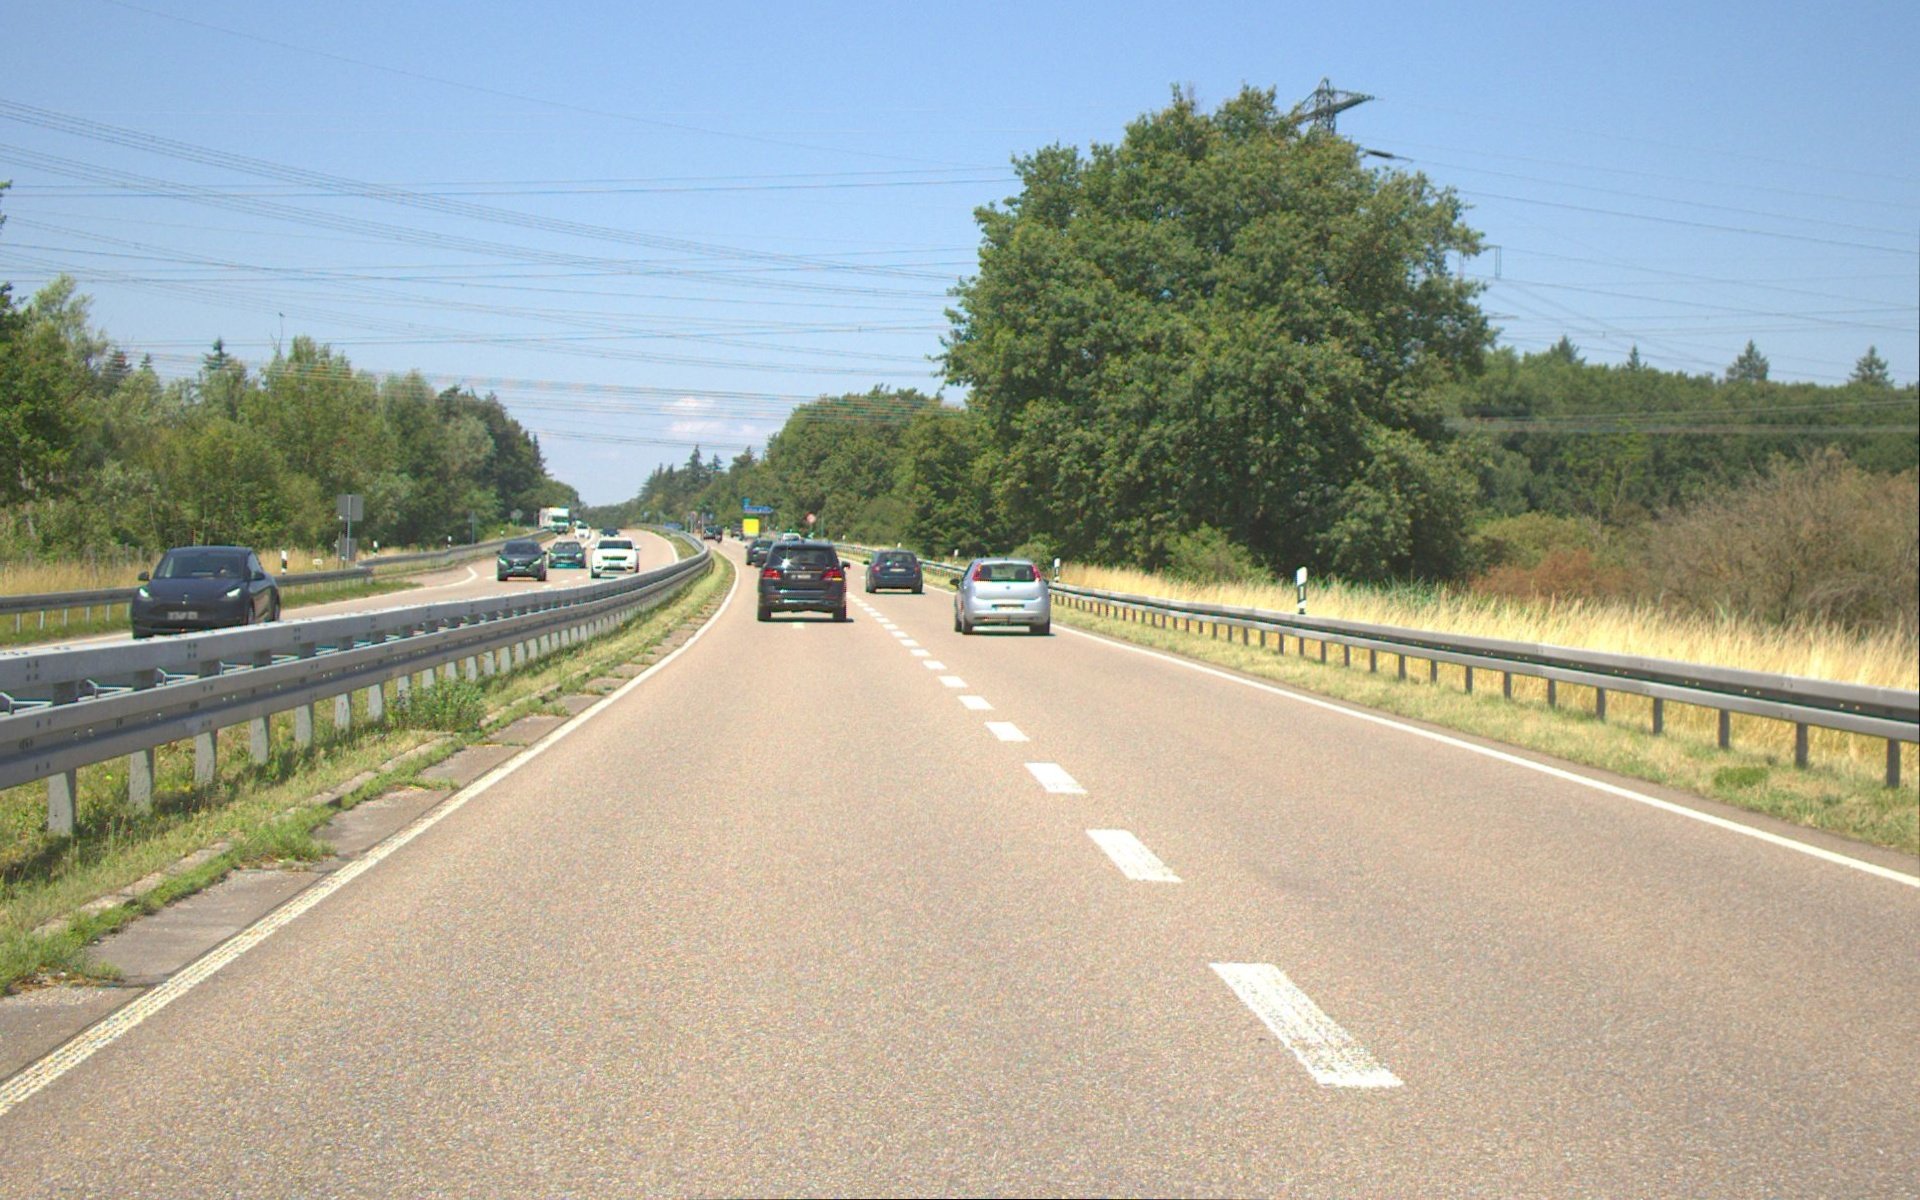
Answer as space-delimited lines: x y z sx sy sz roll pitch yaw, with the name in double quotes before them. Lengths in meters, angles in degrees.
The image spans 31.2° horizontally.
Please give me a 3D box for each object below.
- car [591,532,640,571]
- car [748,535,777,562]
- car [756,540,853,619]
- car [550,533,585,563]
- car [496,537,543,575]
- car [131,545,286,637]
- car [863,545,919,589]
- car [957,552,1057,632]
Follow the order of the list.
"car" -14.744 -2.078 147.268 1.993 1.656 4.001 1 1 -5
"car" -11.008 -2.850 191.845 1.514 1.470 3.066 1 1 -1
"car" -3.368 -0.468 75.174 1.993 1.649 4.000 1 1 -1
"car" -20.427 -2.711 179.032 1.514 1.470 3.066 4 1 -2
"car" -17.328 -1.730 135.232 1.614 1.470 3.066 1 1 -3
"car" -12.576 -0.171 57.706 1.831 1.470 3.684 1 1 -1
"car" -2.276 -1.101 114.403 1.819 1.409 4.000 1 1 -1
"car" 0.879 -0.185 66.475 1.779 1.474 4.316 1 1 -1
